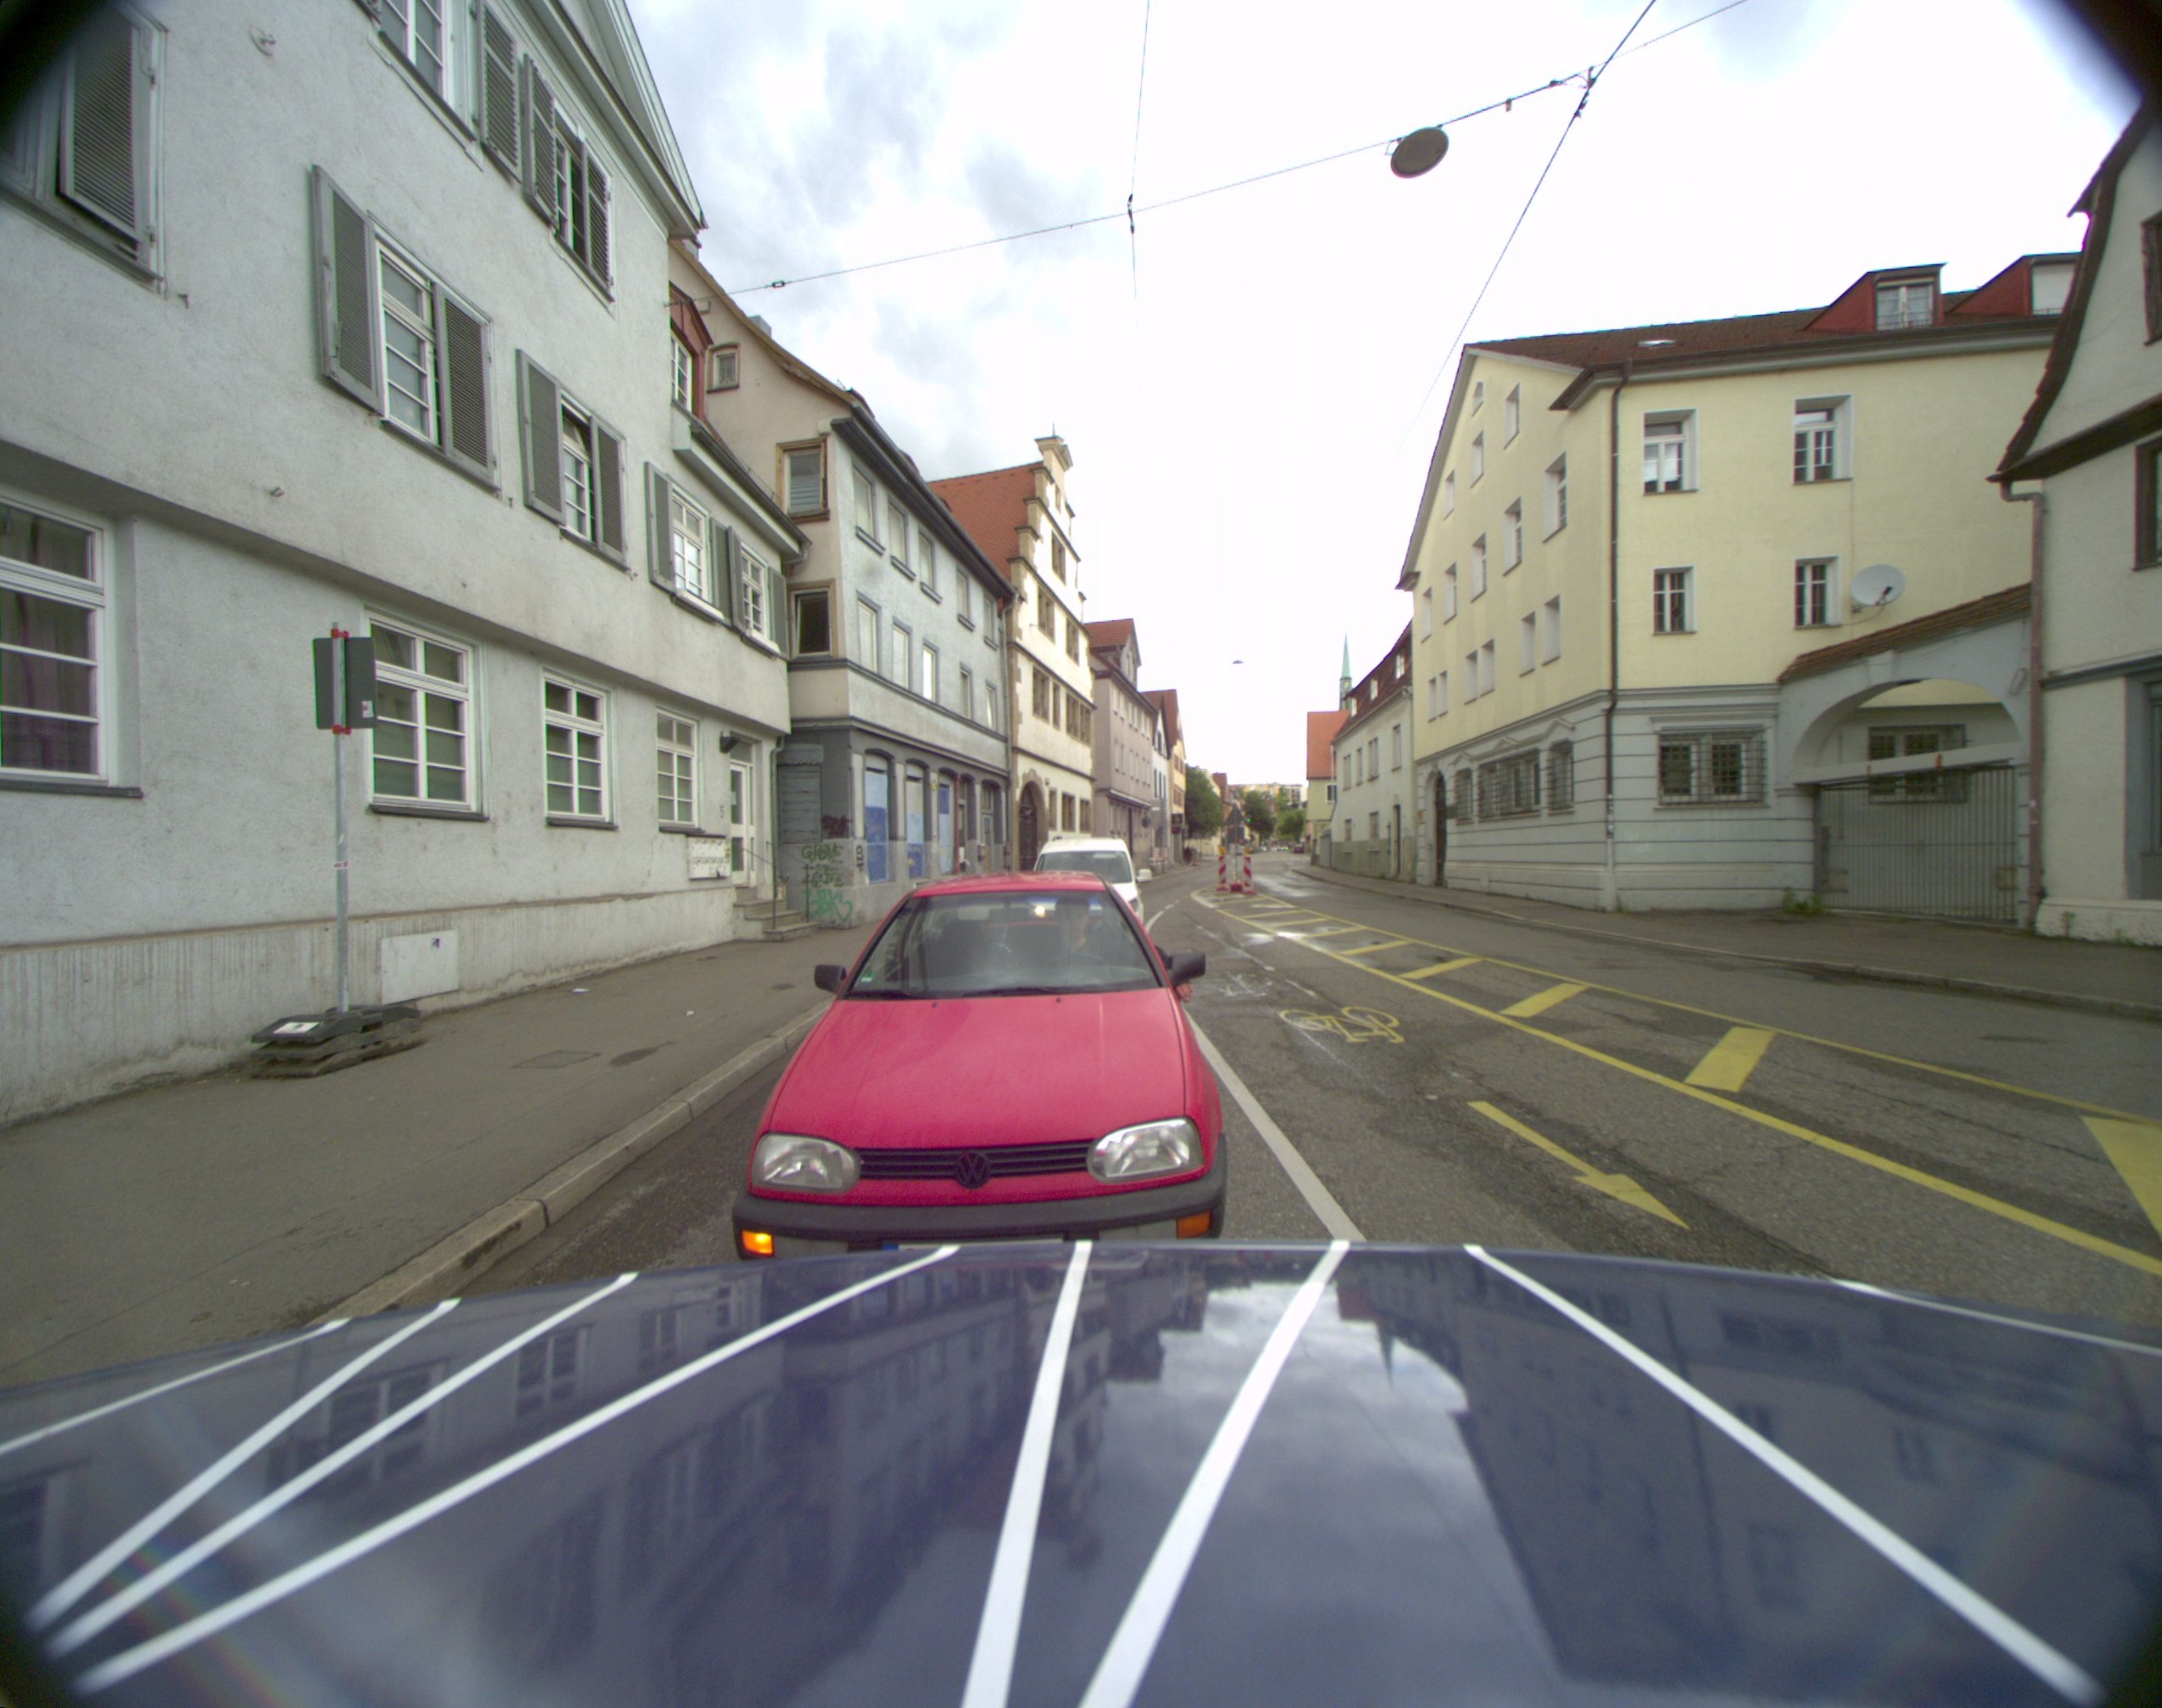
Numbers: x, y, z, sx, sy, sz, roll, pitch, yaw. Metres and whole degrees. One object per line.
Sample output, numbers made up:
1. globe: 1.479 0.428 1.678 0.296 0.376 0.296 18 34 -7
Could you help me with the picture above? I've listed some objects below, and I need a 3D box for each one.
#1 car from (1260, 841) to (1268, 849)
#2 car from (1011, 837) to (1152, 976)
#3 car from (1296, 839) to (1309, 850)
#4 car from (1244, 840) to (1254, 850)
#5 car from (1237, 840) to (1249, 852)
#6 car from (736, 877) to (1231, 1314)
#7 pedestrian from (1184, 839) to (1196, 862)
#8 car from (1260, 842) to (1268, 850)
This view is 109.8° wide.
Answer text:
1. car: 44.978 -2.162 186.810 1.996 2.002 4.004 -1 0 13
2. car: 0.033 0.688 12.034 1.804 1.781 4.349 -1 0 1
3. car: 42.745 -1.780 146.579 2.057 2.002 4.004 -1 0 13
4. car: 34.066 -1.761 154.262 1.996 2.002 4.004 -1 0 13
5. car: 28.471 -1.347 133.500 1.996 2.002 4.004 -1 0 13
6. car: -0.345 0.989 4.906 1.804 1.458 4.000 -4 0 1
7. pedestrian: 9.277 -0.296 64.490 0.877 1.888 0.898 -1 0 14
8. car: 48.455 -2.113 201.079 1.996 2.002 4.004 -1 0 13
